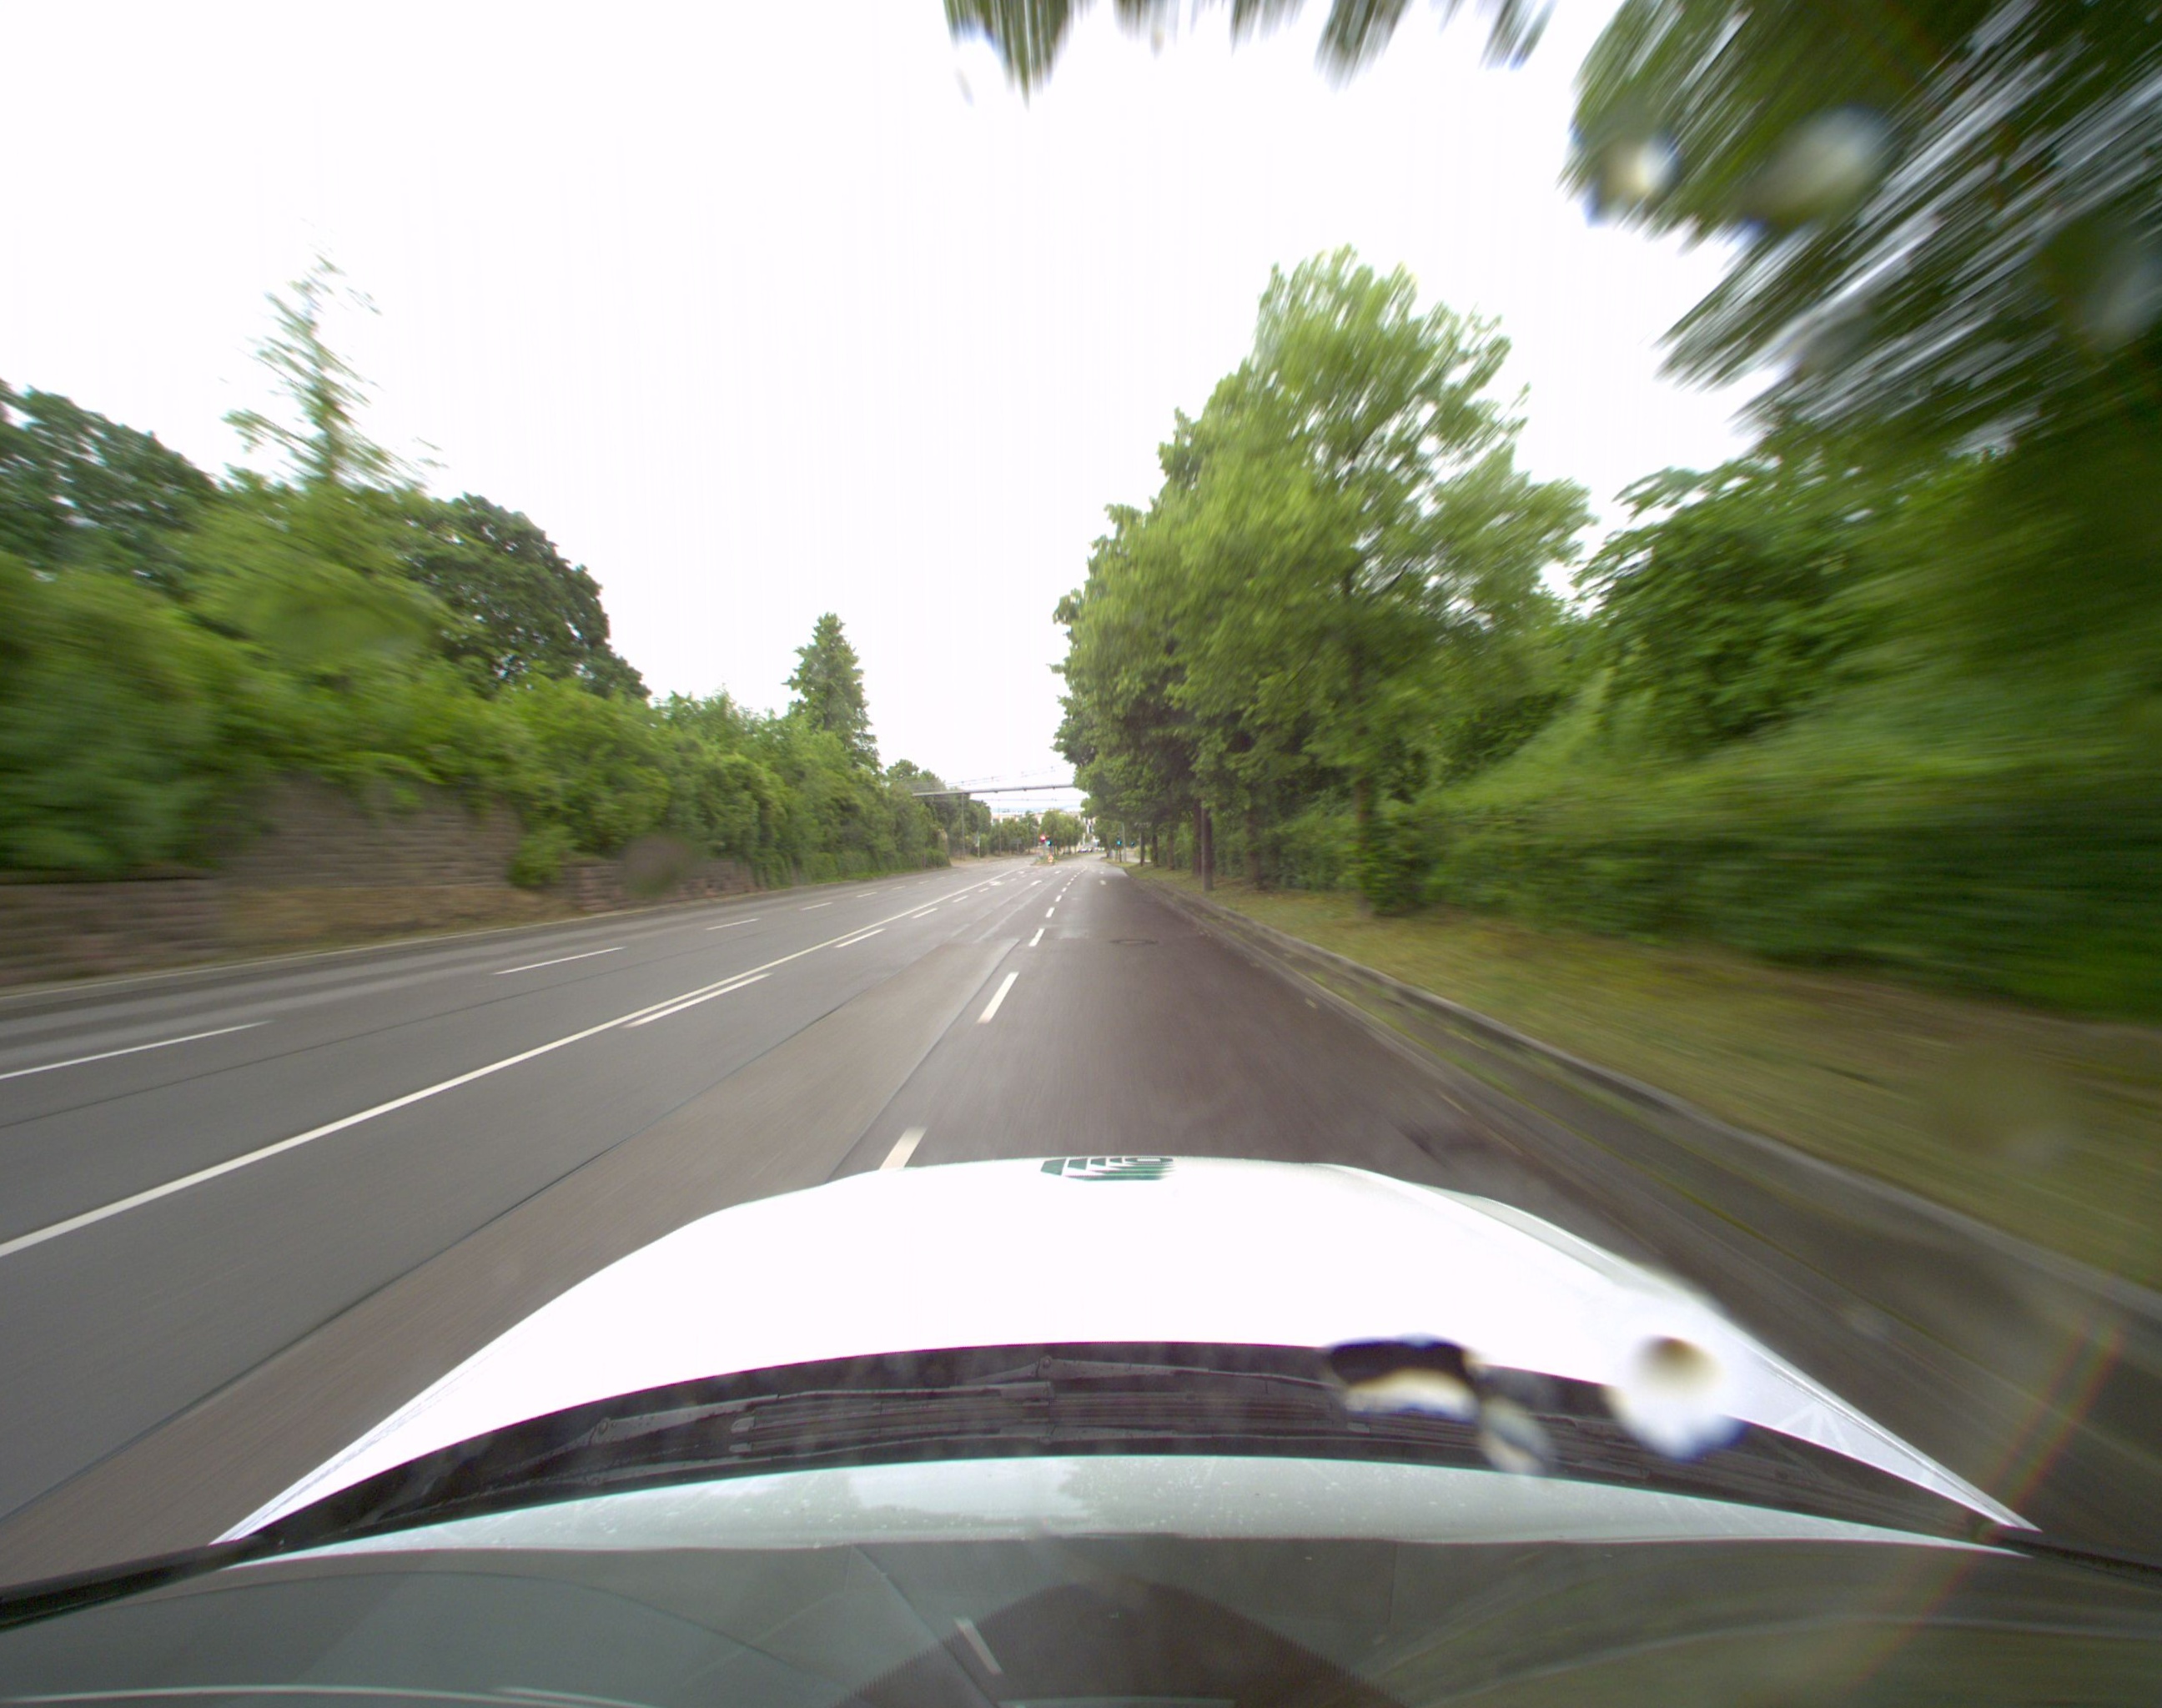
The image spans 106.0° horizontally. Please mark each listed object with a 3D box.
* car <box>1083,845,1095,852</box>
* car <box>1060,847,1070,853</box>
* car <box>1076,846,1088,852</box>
[{"bbox_3d":[2.208,-1.434,216.384,1.999,1.919,5.116,0,0,15],"label":"car"},{"bbox_3d":[-4.012,-1.101,205.123,1.587,1.489,4.015,0,0,13],"label":"car"},{"bbox_3d":[0.212,-1.225,220.176,1.867,1.595,4.787,1,0,17],"label":"car"}]
